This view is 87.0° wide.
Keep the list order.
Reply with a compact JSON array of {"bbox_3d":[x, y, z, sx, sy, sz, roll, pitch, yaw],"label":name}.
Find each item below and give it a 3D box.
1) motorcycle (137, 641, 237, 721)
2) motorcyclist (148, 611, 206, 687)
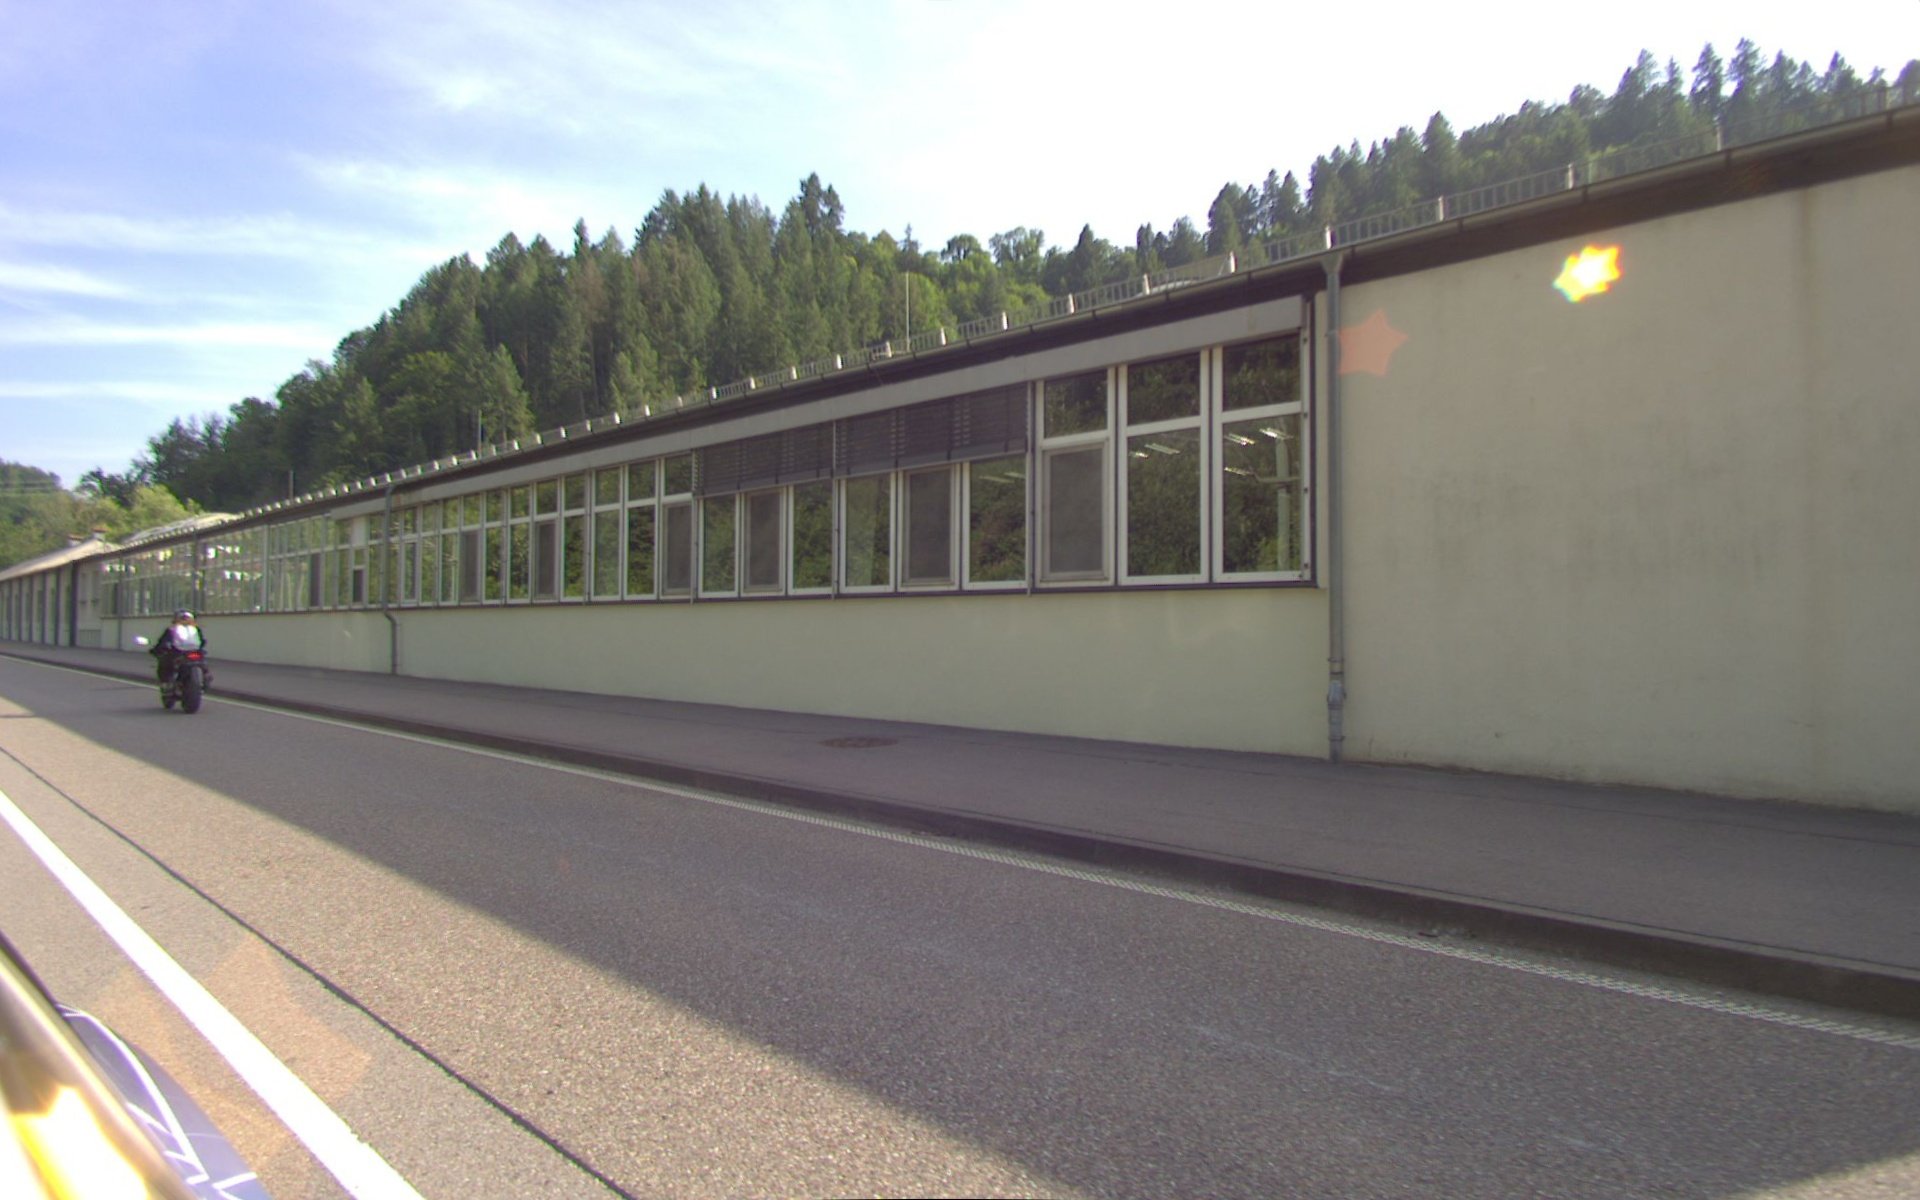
[{"bbox_3d":[-11.726,1.183,15.316,2.491,1.076,0.733,-1,-1,41],"label":"motorcycle"},{"bbox_3d":[-11.957,0.737,15.462,0.636,1.133,0.580,-1,-1,41],"label":"motorcyclist"}]
